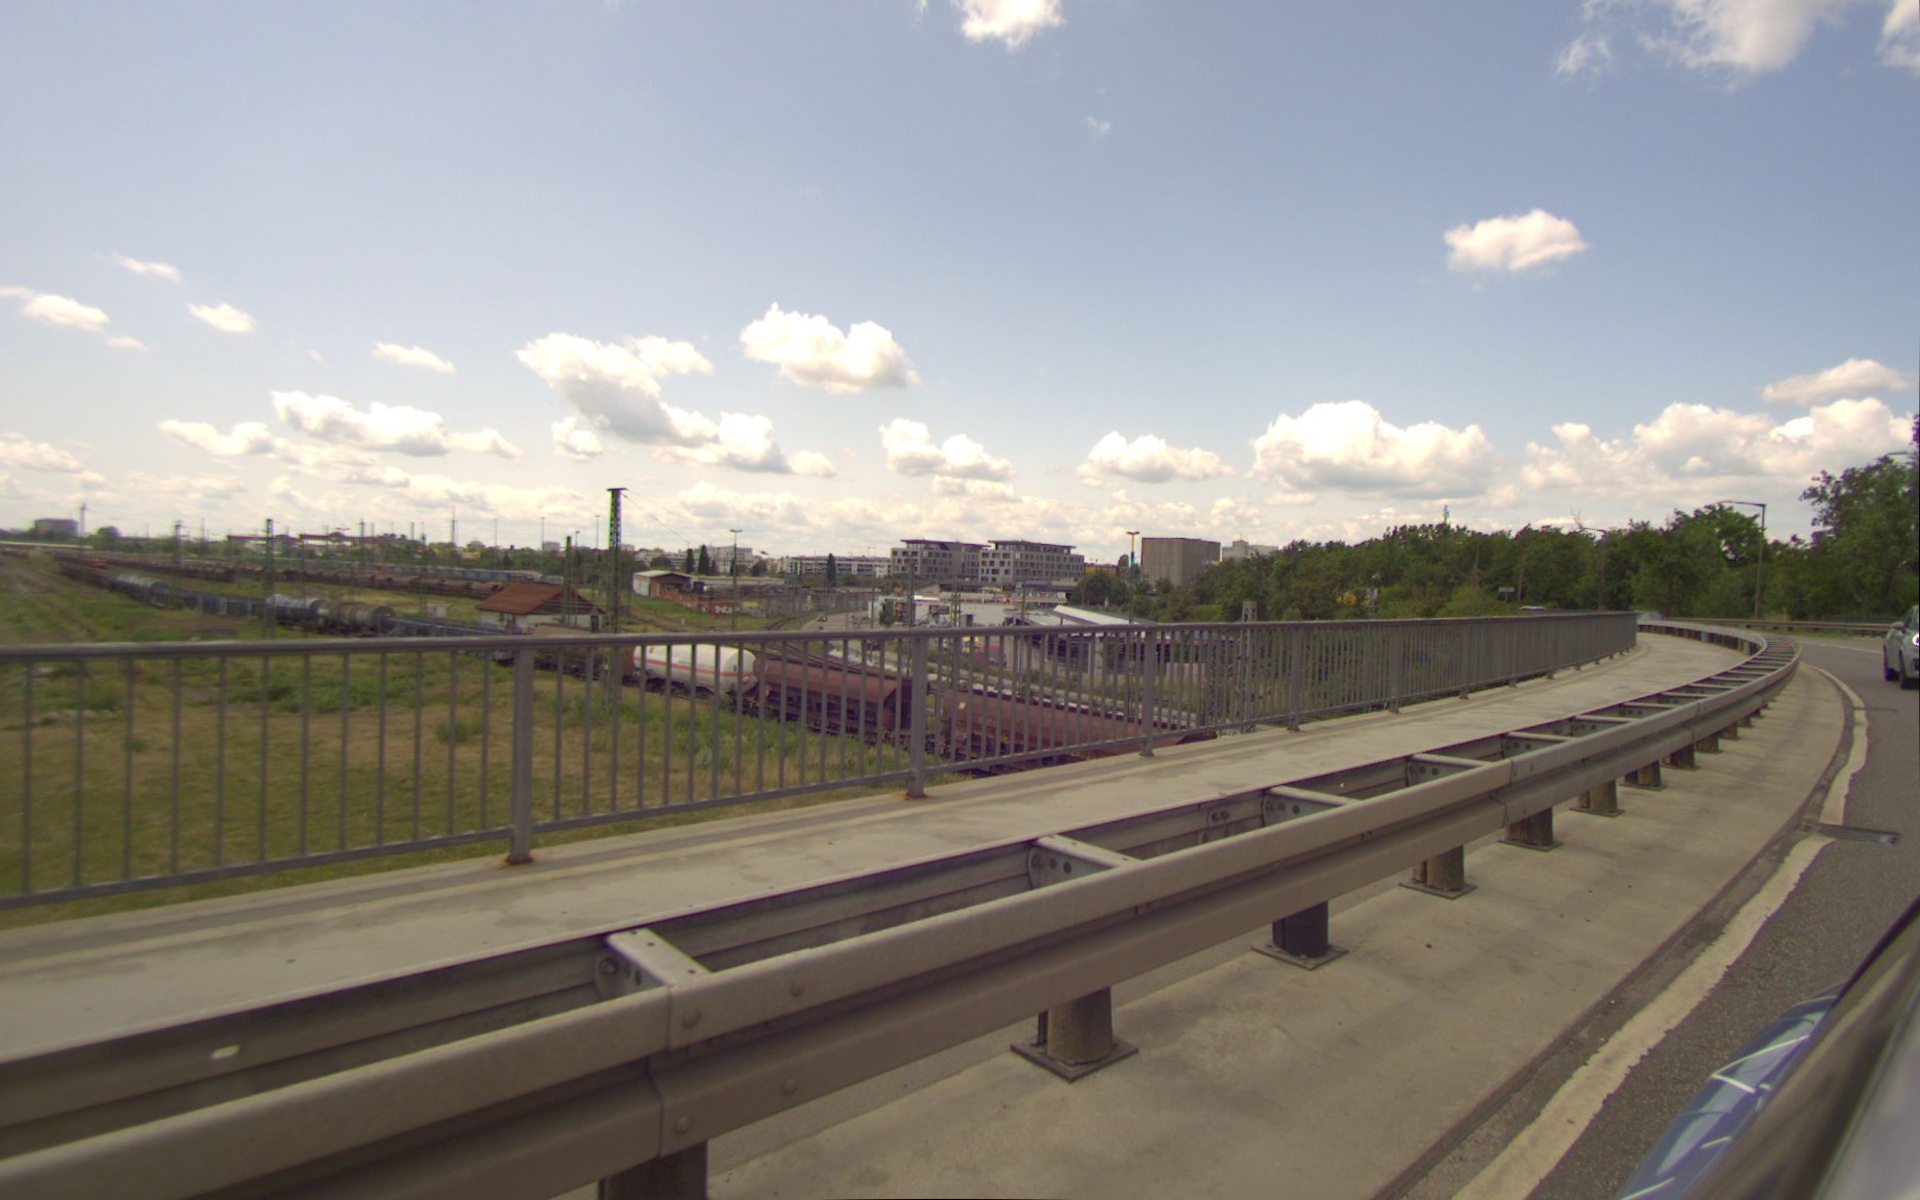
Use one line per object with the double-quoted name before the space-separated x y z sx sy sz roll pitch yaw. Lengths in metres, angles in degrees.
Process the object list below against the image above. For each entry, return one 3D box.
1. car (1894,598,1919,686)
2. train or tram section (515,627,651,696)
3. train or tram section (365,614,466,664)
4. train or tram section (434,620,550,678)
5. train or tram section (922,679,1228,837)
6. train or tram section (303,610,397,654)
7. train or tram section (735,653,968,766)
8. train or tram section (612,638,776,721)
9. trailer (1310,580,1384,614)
"car" 18.663 0.766 18.752 1.821 1.544 3.940 0 -1 41
"train or tram section" -31.963 4.922 84.925 17.638 4.202 3.164 2 4 43
"train or tram section" -58.037 4.018 107.591 15.879 4.202 3.171 2 4 38
"train or tram section" -45.036 4.482 96.876 17.626 4.202 3.166 2 4 42
"train or tram section" 4.456 6.669 46.446 3.085 4.202 16.596 -3 4 -39
"train or tram section" -70.826 3.622 117.188 15.864 4.202 3.174 2 4 35
"train or tram section" -7.085 6.041 59.948 3.167 4.202 18.864 -3 4 -42
"train or tram section" -19.523 5.465 72.930 16.915 4.202 3.168 3 4 44
"trailer" 52.404 -0.410 137.682 2.659 4.334 14.253 0 0 -9
